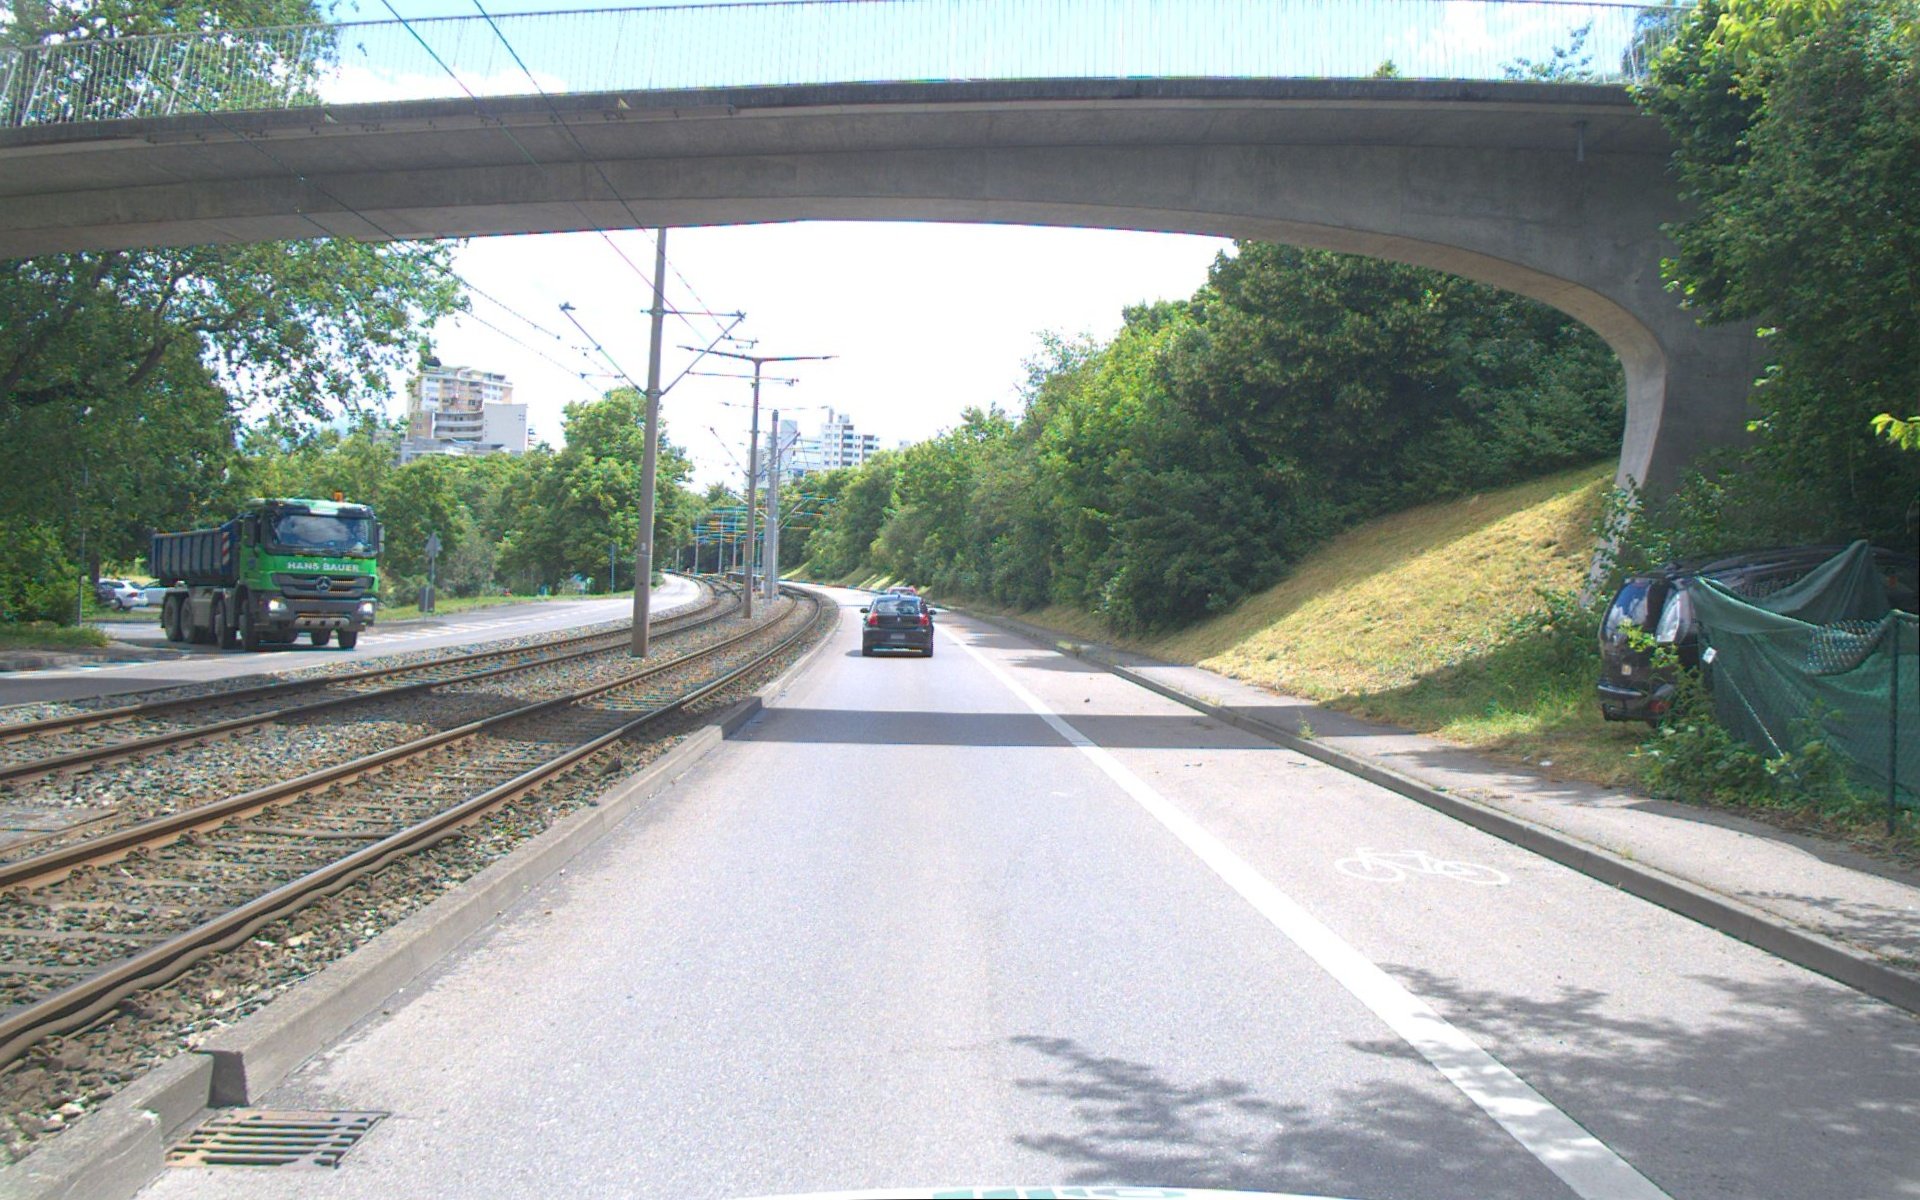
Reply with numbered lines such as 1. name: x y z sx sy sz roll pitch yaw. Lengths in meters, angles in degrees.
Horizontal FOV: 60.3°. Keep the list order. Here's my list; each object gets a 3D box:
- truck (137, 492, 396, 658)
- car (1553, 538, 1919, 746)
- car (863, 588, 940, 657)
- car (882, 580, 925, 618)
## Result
1. truck: -16.110 -0.655 37.990 2.855 3.377 8.896 0 2 -41
2. car: 8.124 0.351 15.393 4.431 1.701 2.000 -3 -2 1
3. car: -1.423 0.523 40.189 1.674 1.485 3.958 4 0 -2
4. car: -2.405 -0.031 70.715 1.591 1.468 3.421 3 -1 1
